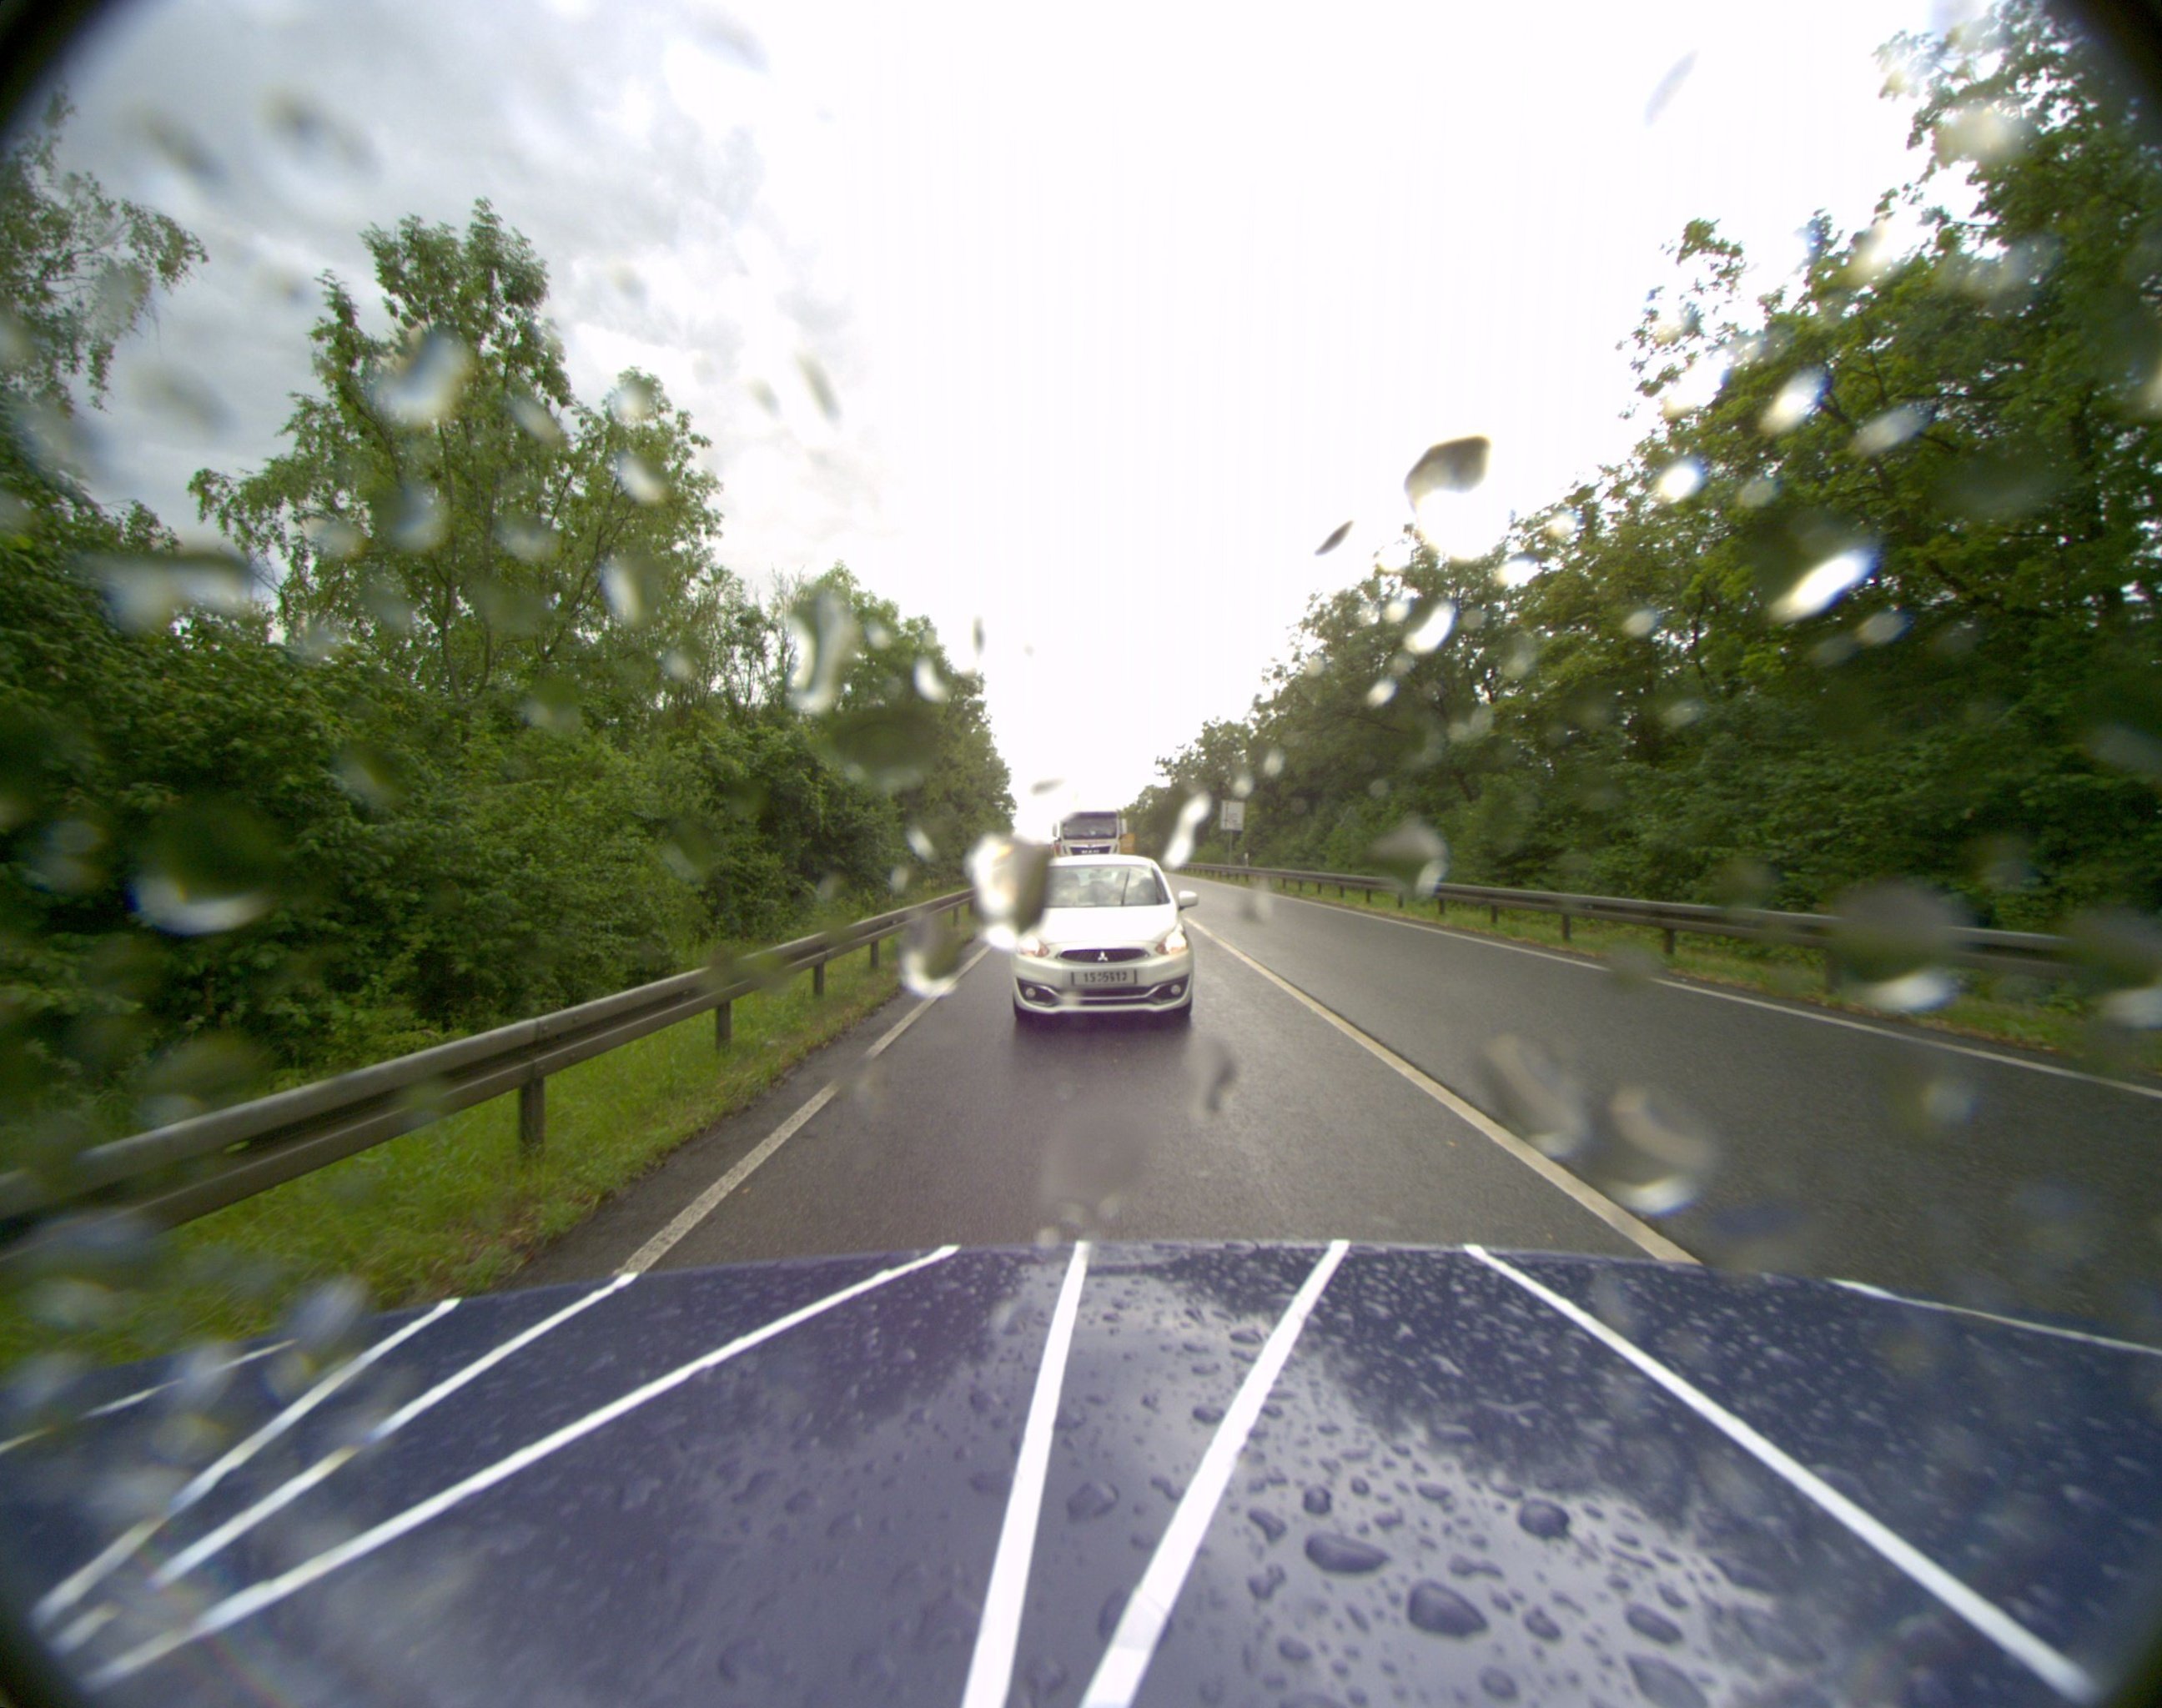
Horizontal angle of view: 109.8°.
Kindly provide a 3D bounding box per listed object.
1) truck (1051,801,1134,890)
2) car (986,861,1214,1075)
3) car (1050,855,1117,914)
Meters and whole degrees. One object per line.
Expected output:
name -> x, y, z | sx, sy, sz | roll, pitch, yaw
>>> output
truck -> 0.391, -0.415, 34.611 | 3.136, 3.364, 9.281 | -2, 1, -1
car -> 0.182, 0.854, 7.657 | 1.610, 1.435, 4.209 | -2, 1, 1
car -> 0.108, 0.779, 21.466 | 1.640, 1.413, 4.491 | -2, 0, 1
